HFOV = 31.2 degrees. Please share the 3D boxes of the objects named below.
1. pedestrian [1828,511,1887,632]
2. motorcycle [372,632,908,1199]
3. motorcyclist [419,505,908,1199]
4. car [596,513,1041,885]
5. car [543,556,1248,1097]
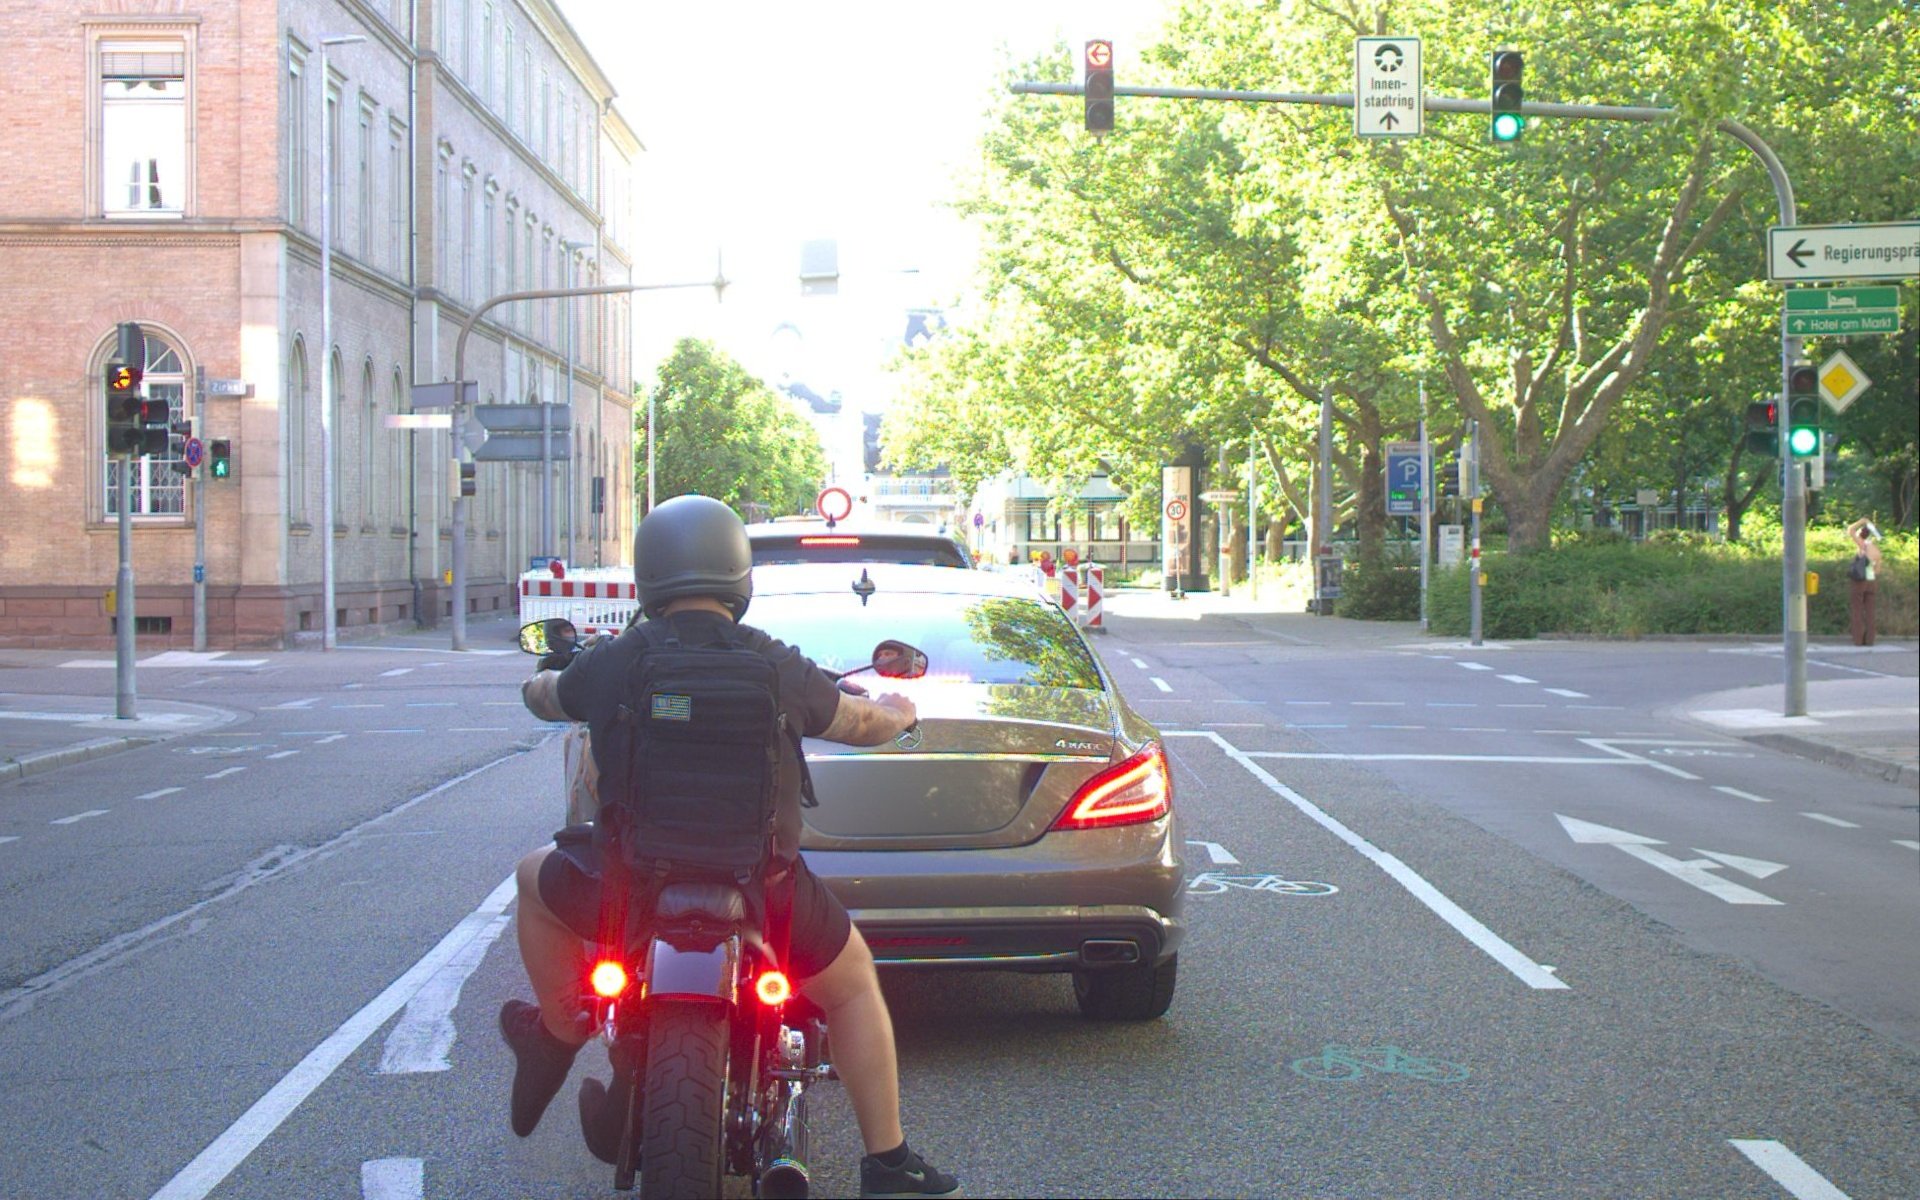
[{"bbox_3d":[13.208,-0.419,50.570,0.678,1.766,0.616,1,0,29],"label":"pedestrian"},{"bbox_3d":[-0.610,0.738,7.574,0.980,1.271,2.407,0,1,-1],"label":"motorcycle"},{"bbox_3d":[-0.607,0.584,7.570,0.980,1.573,1.248,0,1,-1],"label":"motorcyclist"},{"bbox_3d":[-0.664,0.428,17.554,1.993,1.660,4.000,1,1,-1],"label":"car"},{"bbox_3d":[-0.430,0.586,11.632,1.869,1.439,4.431,0,1,-8],"label":"car"}]
